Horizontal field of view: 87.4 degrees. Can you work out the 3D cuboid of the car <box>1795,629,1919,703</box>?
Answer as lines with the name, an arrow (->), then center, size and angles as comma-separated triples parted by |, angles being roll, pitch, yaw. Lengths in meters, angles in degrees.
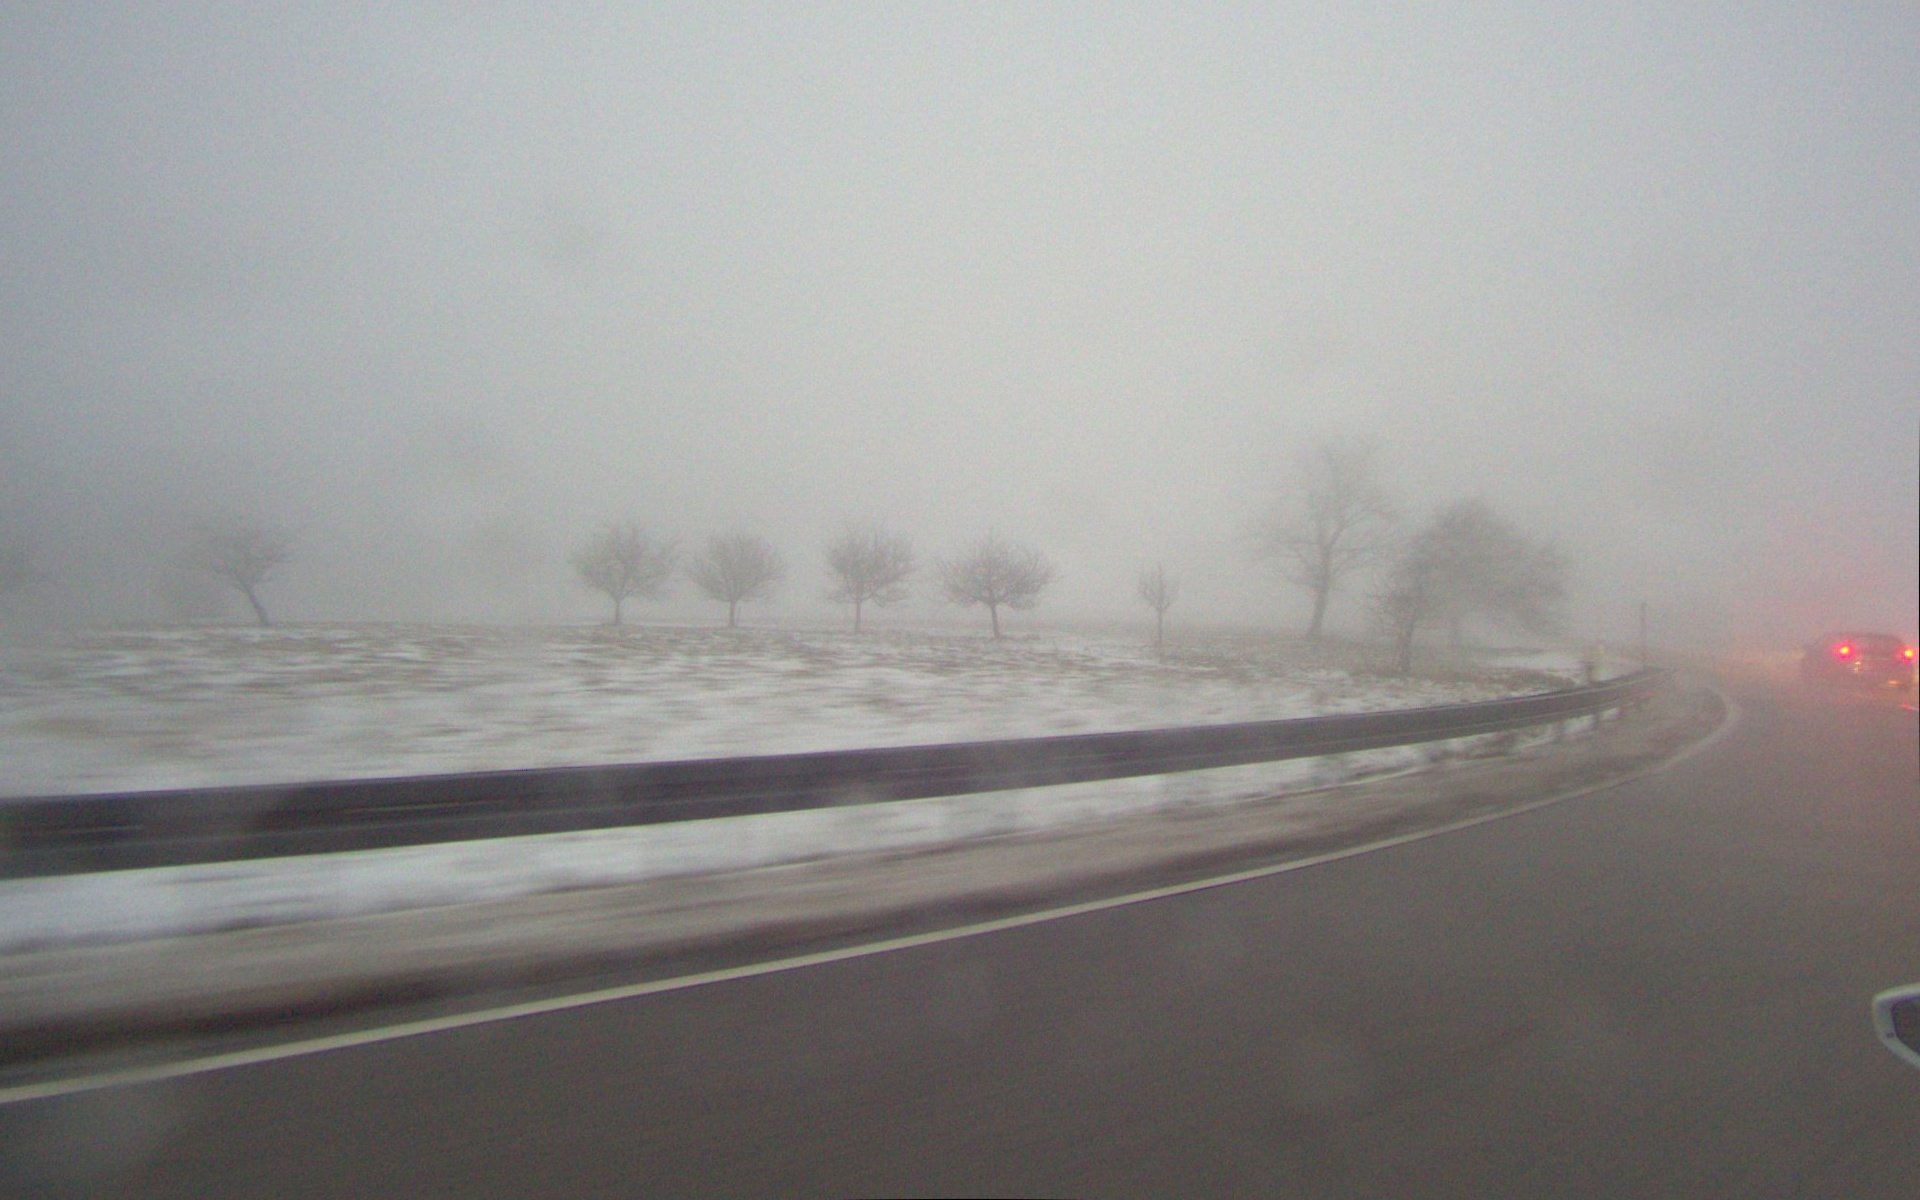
car -> 24.428, 1.766, 27.480 | 1.966, 1.806, 3.990 | 0, -2, 33
